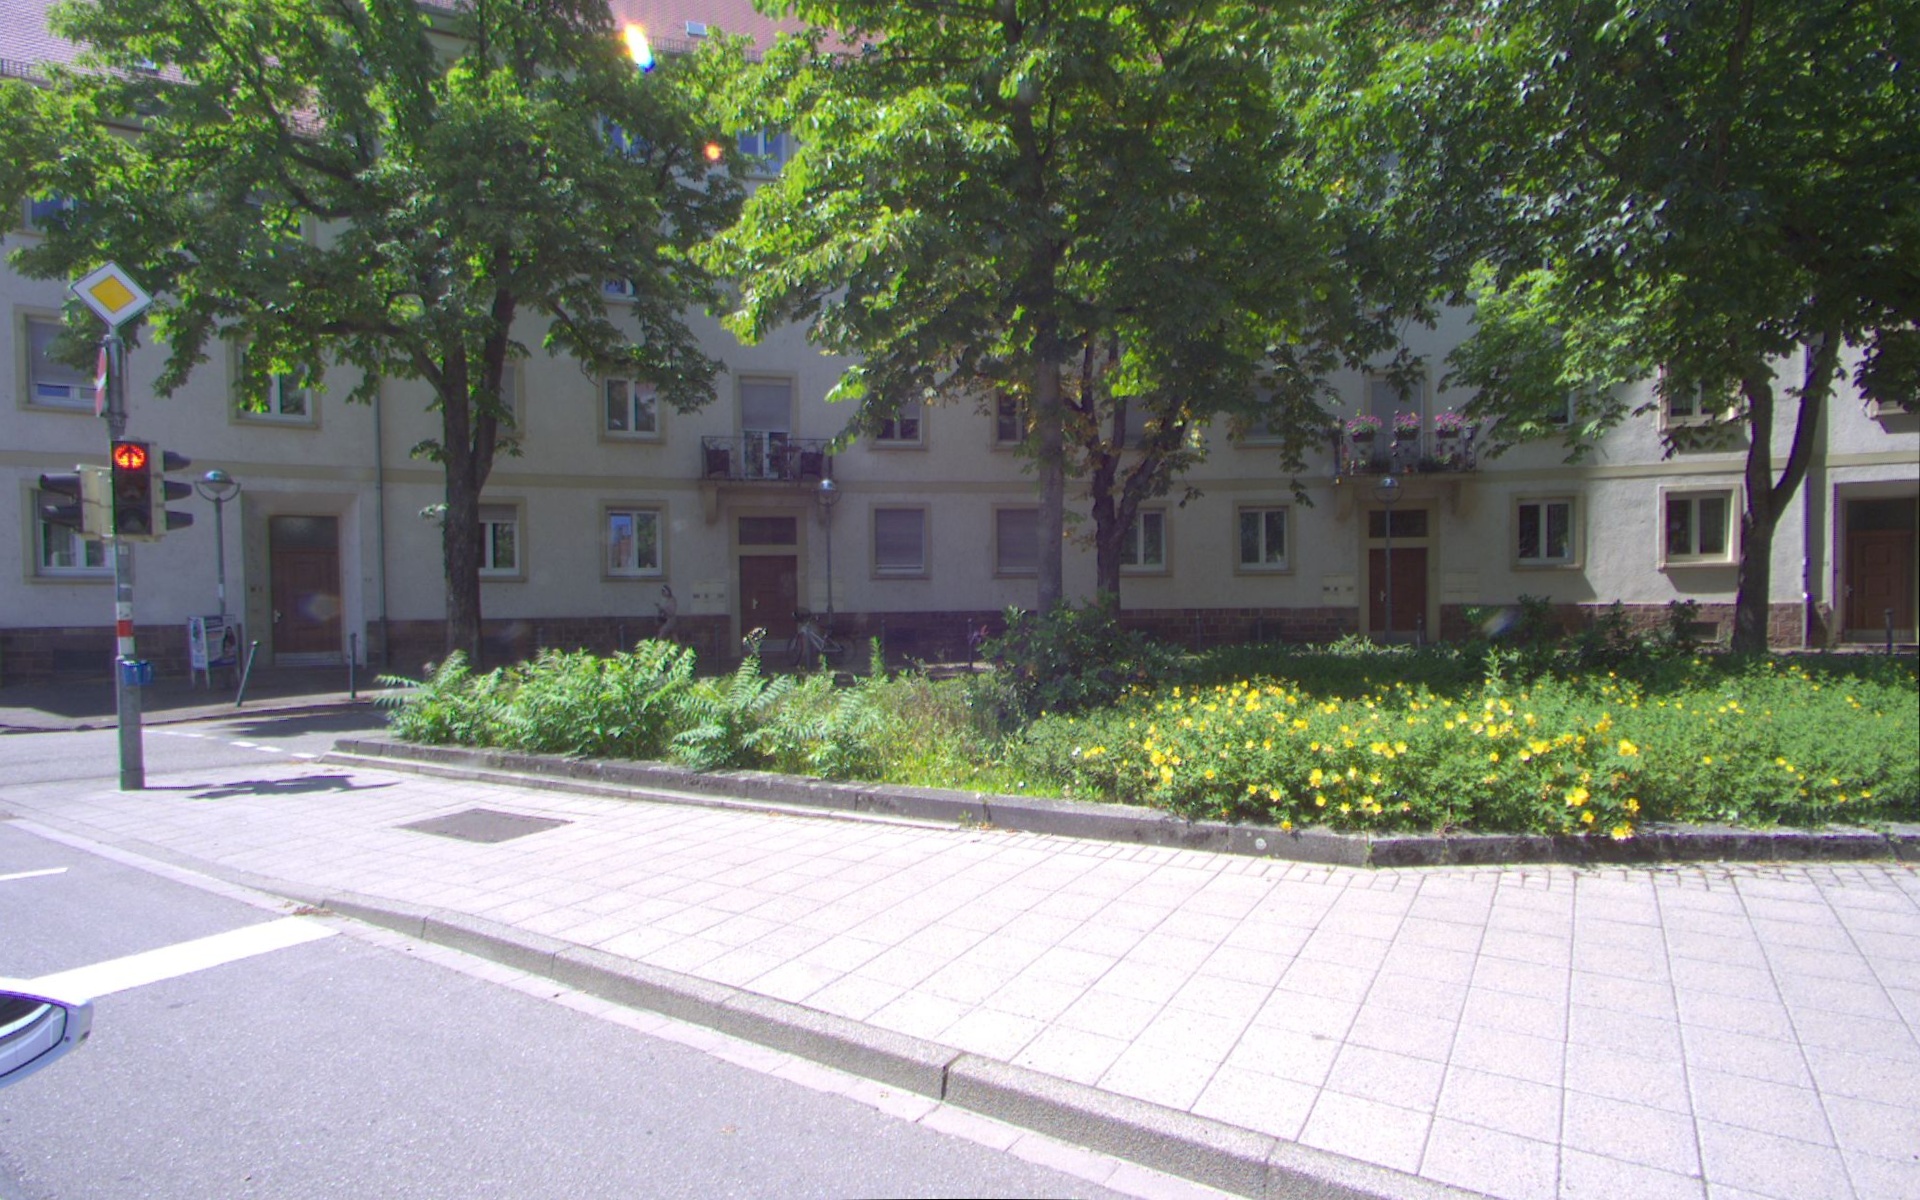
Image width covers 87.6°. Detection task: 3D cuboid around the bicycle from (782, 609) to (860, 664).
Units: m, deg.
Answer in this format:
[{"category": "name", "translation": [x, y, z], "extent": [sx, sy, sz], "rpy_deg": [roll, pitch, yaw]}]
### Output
[{"category": "bicycle", "translation": [-2.887, 0.753, 20.873], "extent": [1.575, 1.119, 0.525], "rpy_deg": [-1, 1, -4]}]

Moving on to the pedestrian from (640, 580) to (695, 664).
[{"category": "pedestrian", "translation": [-6.354, 0.466, 21.762], "extent": [1.039, 1.715, 0.651], "rpy_deg": [-3, 7, -21]}]
